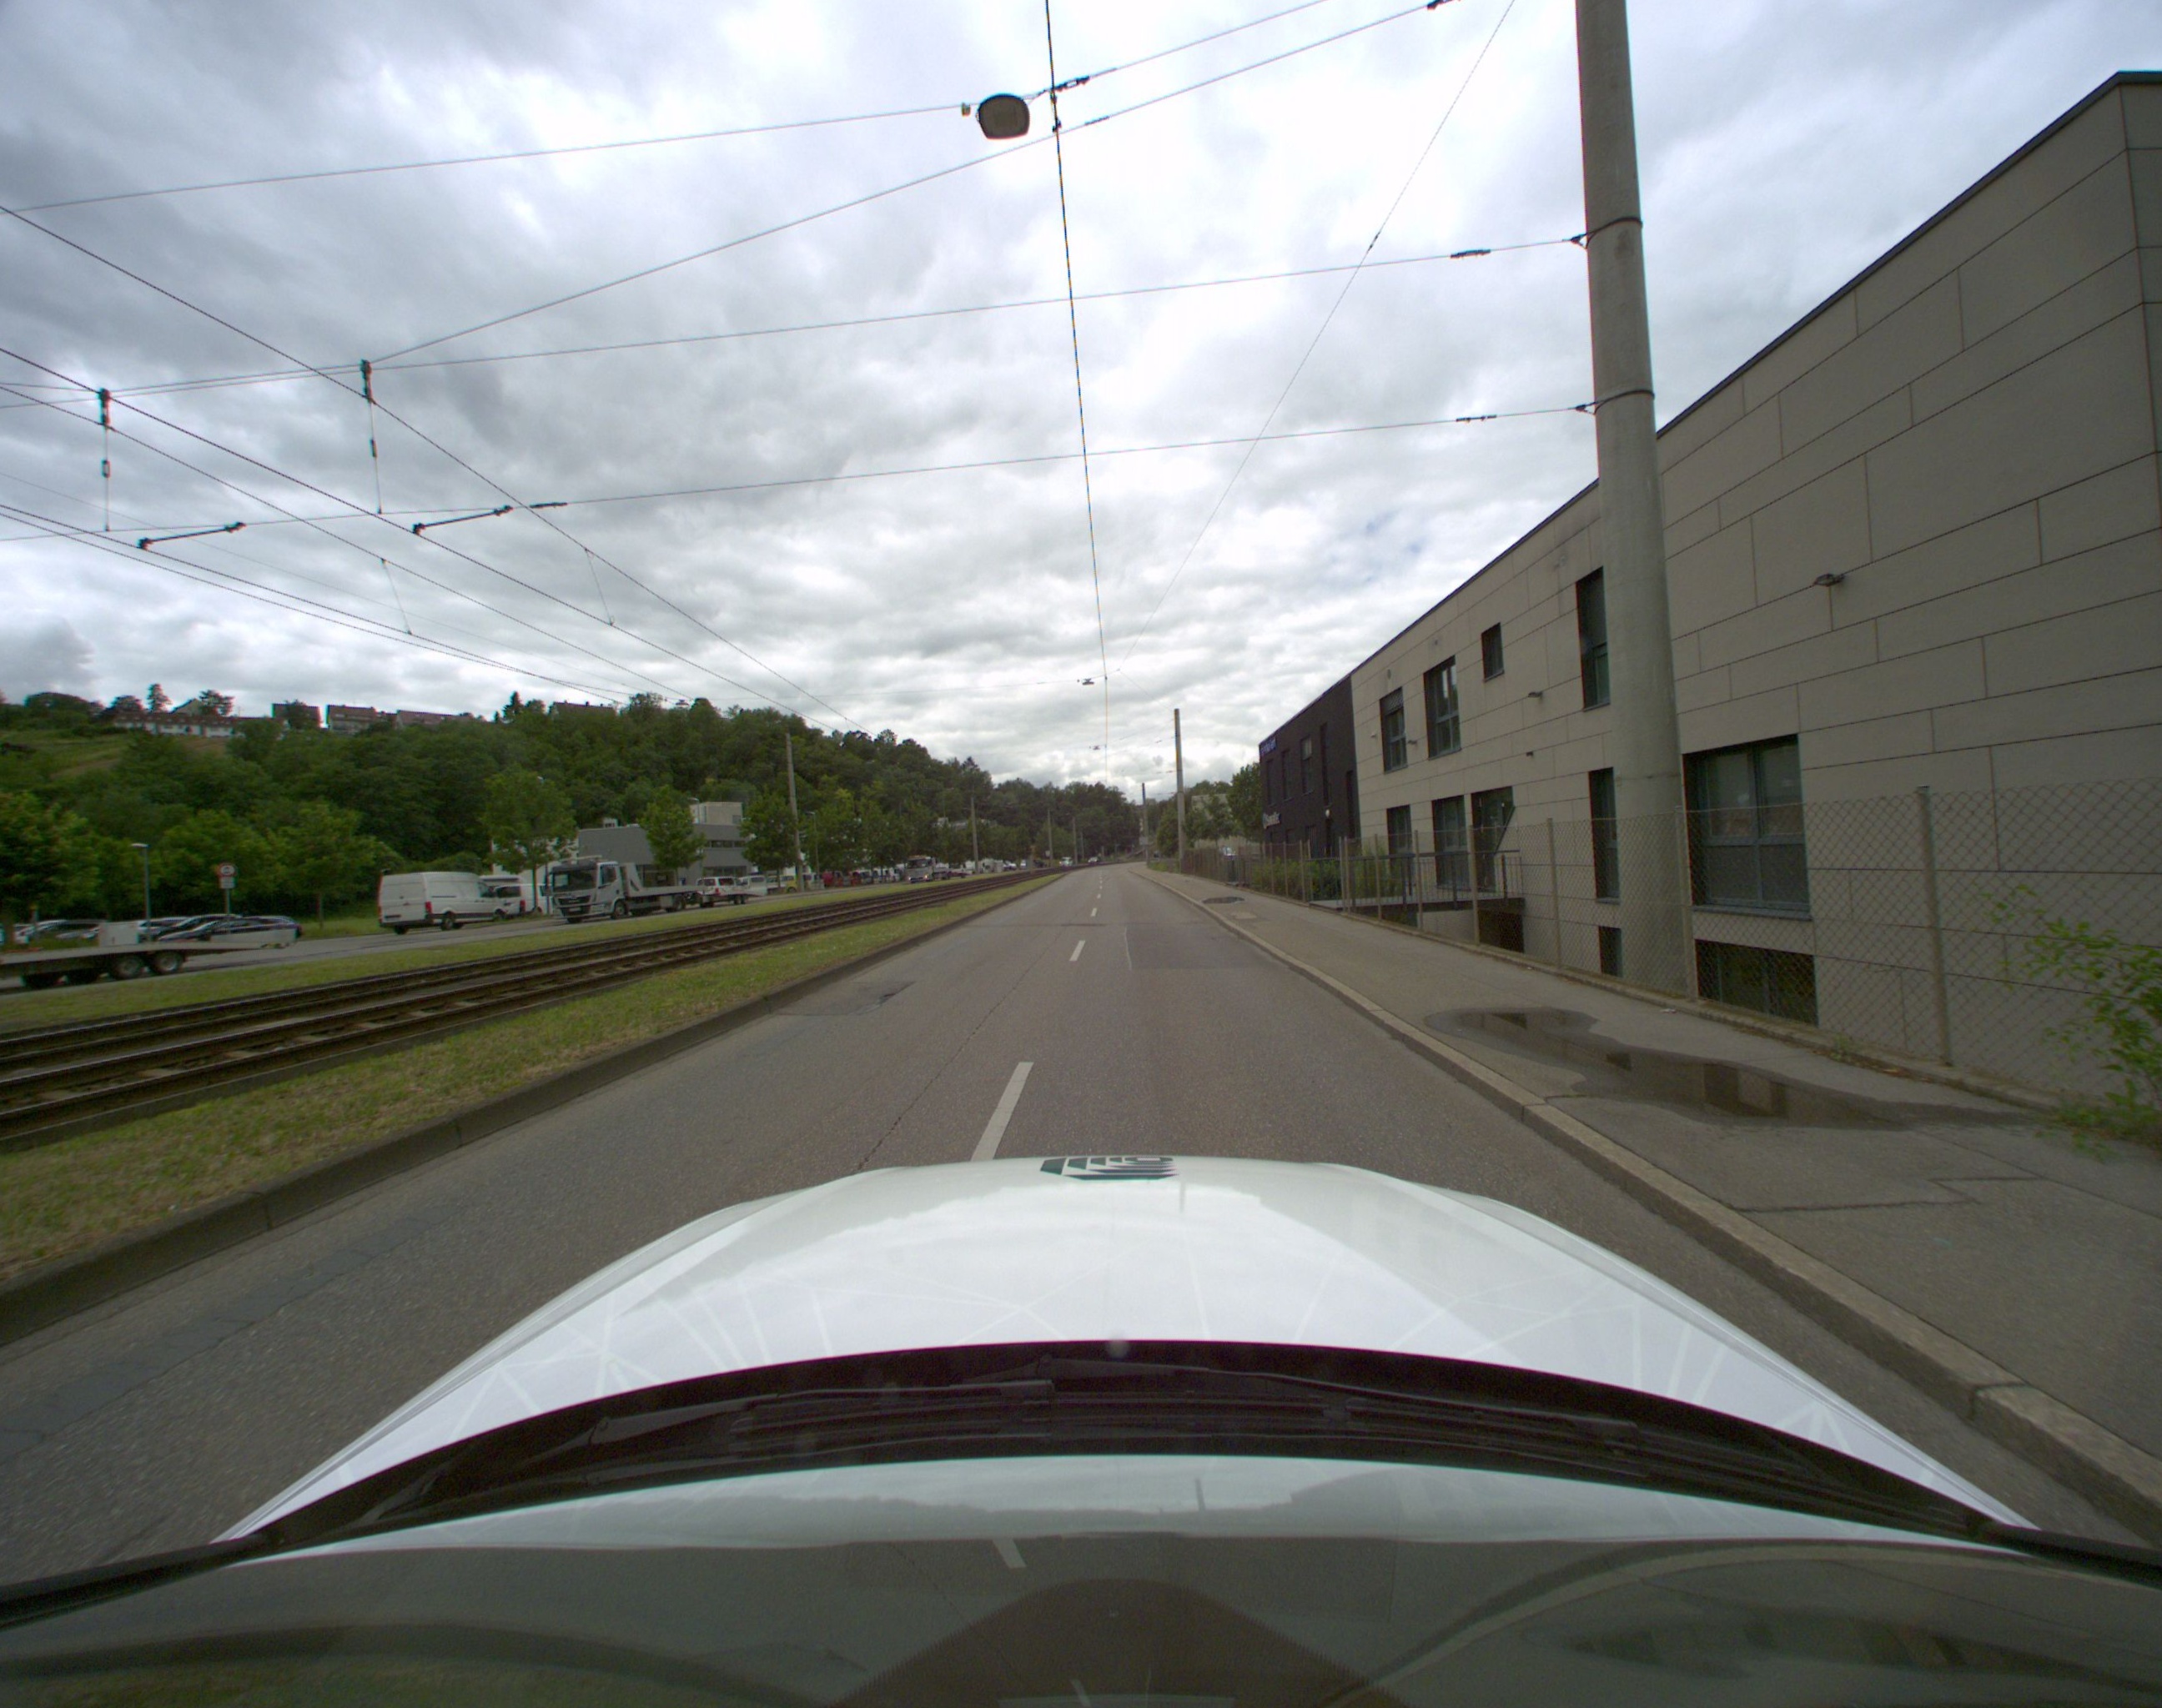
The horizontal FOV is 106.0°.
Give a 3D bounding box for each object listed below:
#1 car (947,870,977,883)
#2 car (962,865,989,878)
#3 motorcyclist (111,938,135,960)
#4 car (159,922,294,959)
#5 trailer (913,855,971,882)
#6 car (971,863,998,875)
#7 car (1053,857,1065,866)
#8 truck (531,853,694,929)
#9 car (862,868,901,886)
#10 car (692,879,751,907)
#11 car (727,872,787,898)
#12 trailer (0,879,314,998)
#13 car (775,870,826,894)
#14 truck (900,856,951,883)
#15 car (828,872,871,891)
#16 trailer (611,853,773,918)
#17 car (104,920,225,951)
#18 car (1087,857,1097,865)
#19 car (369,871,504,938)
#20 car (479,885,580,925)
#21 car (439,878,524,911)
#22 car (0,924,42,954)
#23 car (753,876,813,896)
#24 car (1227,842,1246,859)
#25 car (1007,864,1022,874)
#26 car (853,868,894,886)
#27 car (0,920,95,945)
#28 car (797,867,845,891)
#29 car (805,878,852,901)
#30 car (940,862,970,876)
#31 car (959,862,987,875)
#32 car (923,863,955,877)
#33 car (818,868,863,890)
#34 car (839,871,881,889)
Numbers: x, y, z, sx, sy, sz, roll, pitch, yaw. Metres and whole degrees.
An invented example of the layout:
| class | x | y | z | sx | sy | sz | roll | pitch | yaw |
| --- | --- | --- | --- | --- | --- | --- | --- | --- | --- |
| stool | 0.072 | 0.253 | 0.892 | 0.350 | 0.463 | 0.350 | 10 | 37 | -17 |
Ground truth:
| class | x | y | z | sx | sy | sz | roll | pitch | yaw |
| --- | --- | --- | --- | --- | --- | --- | --- | --- | --- |
| car | -18.139 | 3.448 | 123.981 | 3.964 | 1.705 | 1.838 | -4 | 0 | 8 |
| car | -17.232 | 2.854 | 132.944 | 3.964 | 1.706 | 1.838 | -4 | -4 | 8 |
| motorcyclist | -45.464 | 4.507 | 38.648 | 0.651 | 0.945 | 0.563 | -3 | -1 | 26 |
| car | -39.947 | 4.013 | 38.188 | 1.590 | 1.266 | 4.024 | -3 | -1 | 26 |
| trailer | -15.173 | 1.523 | 89.890 | 2.874 | 2.583 | 10.022 | -3 | 0 | 10 |
| car | -16.206 | 2.541 | 136.846 | 3.964 | 1.706 | 1.838 | -4 | -4 | 8 |
| car | -4.496 | 1.514 | 167.846 | 1.985 | 1.640 | 4.003 | -3 | 0 | 3 |
| truck | -21.017 | 1.530 | 37.111 | 2.870 | 2.990 | 6.919 | -3 | 0 | 4 |
| car | -23.215 | 2.660 | 94.820 | 3.964 | 1.706 | 1.838 | -4 | 0 | 8 |
| car | -26.926 | 2.965 | 61.187 | 1.984 | 1.898 | 4.615 | -4 | -4 | 5 |
| car | -27.092 | 2.629 | 68.091 | 4.553 | 1.899 | 2.011 | -5 | -5 | 24 |
| trailer | -21.975 | 1.837 | 18.206 | 2.282 | 2.128 | 7.324 | -6 | 0 | 3 |
| car | -26.423 | 2.641 | 76.737 | 3.968 | 2.014 | 2.002 | -4 | -4 | 5 |
| truck | -16.081 | 1.560 | 84.733 | 2.865 | 2.589 | 6.930 | -3 | 0 | 10 |
| car | -24.816 | 2.942 | 87.410 | 3.964 | 1.706 | 1.838 | -4 | -1 | 8 |
| trailer | -20.566 | 1.516 | 44.112 | 2.880 | 2.982 | 10.801 | -3 | 0 | 3 |
| car | -49.204 | 4.346 | 43.808 | 1.590 | 1.266 | 4.024 | -3 | -1 | 26 |
| car | 2.446 | 1.563 | 175.855 | 1.985 | 1.640 | 4.003 | -3 | 0 | 3 |
| car | -28.496 | 2.126 | 36.306 | 1.999 | 2.646 | 5.427 | -3 | -1 | -6 |
| car | -28.872 | 2.708 | 42.799 | 2.146 | 1.877 | 4.260 | -4 | -4 | 5 |
| car | -45.373 | 3.045 | 61.755 | 1.590 | 2.191 | 4.909 | -3 | -1 | 29 |
| car | -62.169 | 4.921 | 46.906 | 3.951 | 1.529 | 1.939 | -3 | -1 | 24 |
| car | -26.982 | 2.912 | 73.794 | 4.574 | 1.575 | 2.002 | -3 | -4 | 4 |
| car | 16.350 | -0.379 | 85.663 | 1.816 | 1.706 | 3.818 | -4 | -1 | 12 |
| car | -12.999 | 2.887 | 159.314 | 1.815 | 1.706 | 4.156 | -4 | -4 | 13 |
| car | -23.501 | 2.578 | 92.333 | 3.964 | 1.706 | 1.838 | -4 | -1 | 8 |
| car | -69.396 | 5.213 | 54.504 | 1.590 | 1.266 | 4.024 | -3 | -1 | 26 |
| car | -25.485 | 2.450 | 79.924 | 3.968 | 2.014 | 2.002 | -4 | -4 | 5 |
| car | -25.526 | 3.619 | 82.357 | 3.968 | 2.014 | 2.002 | -4 | -4 | 5 |
| car | -18.374 | 2.143 | 118.764 | 3.964 | 1.706 | 1.838 | -4 | -4 | 8 |
| car | -17.146 | 2.346 | 129.223 | 3.964 | 1.706 | 1.838 | -4 | -4 | 8 |
| car | -20.121 | 2.276 | 115.171 | 3.964 | 1.706 | 1.838 | -4 | -4 | 8 |
| car | -25.095 | 2.660 | 85.059 | 3.968 | 2.014 | 2.002 | -4 | -4 | 5 |
| car | -24.289 | 2.832 | 89.607 | 3.964 | 1.705 | 1.838 | -4 | 0 | 8 |
